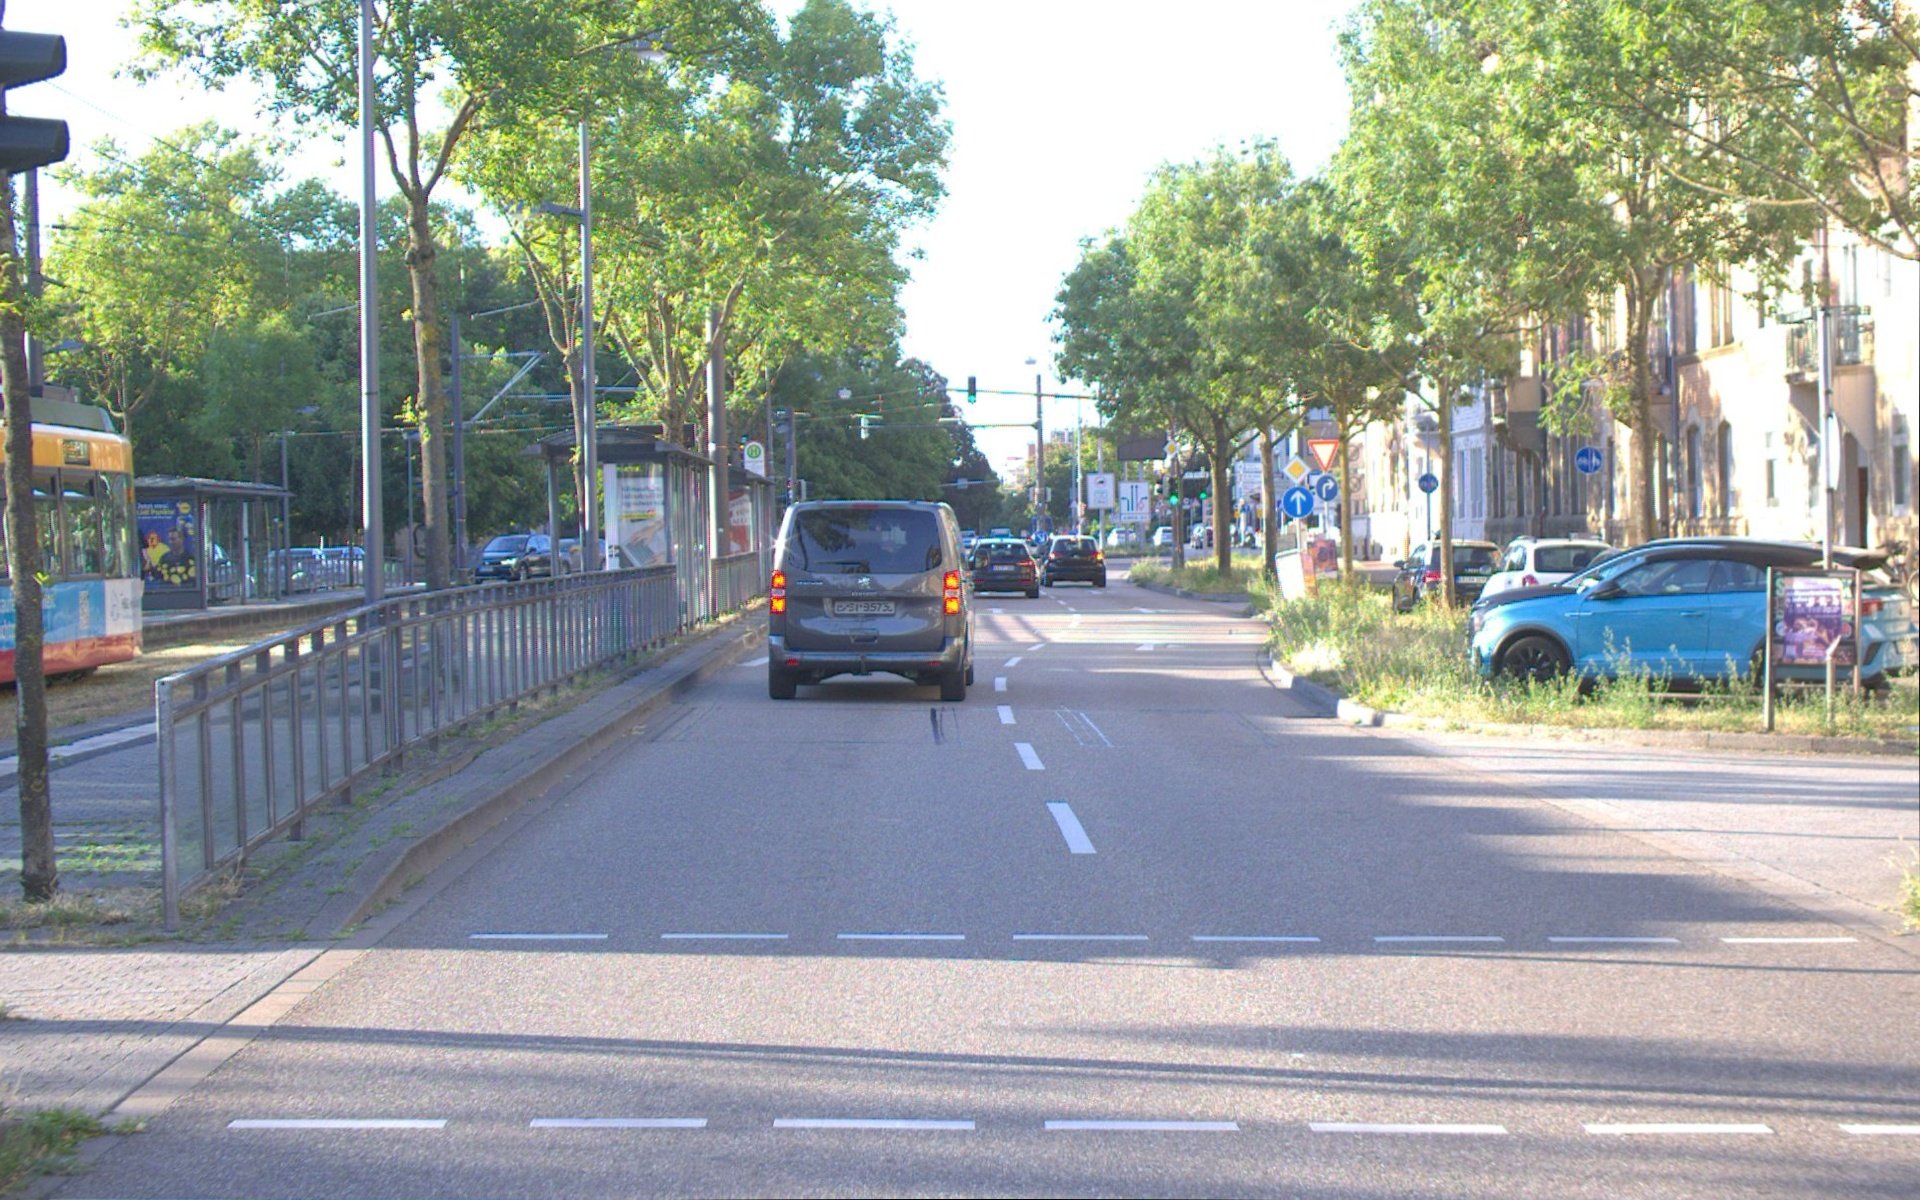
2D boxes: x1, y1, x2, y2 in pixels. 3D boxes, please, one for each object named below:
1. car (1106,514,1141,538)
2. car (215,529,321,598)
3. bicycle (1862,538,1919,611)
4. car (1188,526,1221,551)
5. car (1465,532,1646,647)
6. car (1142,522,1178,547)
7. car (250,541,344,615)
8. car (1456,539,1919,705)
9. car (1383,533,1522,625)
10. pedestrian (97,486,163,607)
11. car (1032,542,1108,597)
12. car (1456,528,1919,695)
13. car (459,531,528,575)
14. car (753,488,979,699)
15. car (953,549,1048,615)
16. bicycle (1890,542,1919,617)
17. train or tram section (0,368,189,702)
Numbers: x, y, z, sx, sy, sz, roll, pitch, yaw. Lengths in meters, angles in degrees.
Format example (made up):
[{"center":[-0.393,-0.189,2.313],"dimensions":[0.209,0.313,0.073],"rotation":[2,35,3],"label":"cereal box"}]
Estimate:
[{"center":[11.444,-5.184,241.254],"dimensions":[1.993,1.651,4.300],"rotation":[-1,1,-3],"label":"car"},{"center":[-17.229,-0.920,85.736],"dimensions":[1.859,1.648,4.000],"rotation":[1,1,-1],"label":"car"},{"center":[15.661,-0.433,57.657],"dimensions":[0.483,1.161,1.746],"rotation":[-6,1,0],"label":"bicycle"},{"center":[16.898,-4.235,237.719],"dimensions":[1.993,1.651,4.299],"rotation":[-1,1,1],"label":"car"},{"center":[8.459,-0.185,49.152],"dimensions":[1.725,1.507,4.273],"rotation":[2,1,-1],"label":"car"},{"center":[13.879,-4.550,238.682],"dimensions":[1.993,1.651,4.300],"rotation":[-1,1,-3],"label":"car"},{"center":[-18.403,-0.623,95.556],"dimensions":[1.859,2.007,4.000],"rotation":[1,1,-1],"label":"car"},{"center":[7.193,0.169,33.521],"dimensions":[4.281,1.517,1.844],"rotation":[1,1,32],"label":"car"},{"center":[8.349,-0.394,58.616],"dimensions":[1.704,1.443,4.289],"rotation":[2,1,0],"label":"car"},{"center":[-13.913,-0.896,57.645],"dimensions":[0.770,2.007,1.127],"rotation":[-1,1,2],"label":"pedestrian"},{"center":[3.125,-0.892,98.383],"dimensions":[1.993,1.505,4.000],"rotation":[0,1,-1],"label":"car"},{"center":[7.619,0.070,36.044],"dimensions":[4.334,1.566,1.998],"rotation":[2,2,29],"label":"car"},{"center":[-15.536,-1.580,114.573],"dimensions":[1.794,1.410,4.341],"rotation":[1,1,-1],"label":"car"},{"center":[-0.845,-0.097,33.498],"dimensions":[1.993,1.894,4.299],"rotation":[1,1,1],"label":"car"},{"center":[0.955,-0.445,82.738],"dimensions":[1.993,1.505,4.001],"rotation":[0,1,-3],"label":"car"},{"center":[15.613,-0.342,55.755],"dimensions":[0.483,1.161,1.746],"rotation":[-6,1,0],"label":"bicycle"},{"center":[-11.322,-0.666,36.133],"dimensions":[3.431,3.328,13.858],"rotation":[-1,1,-1],"label":"train or tram section"}]
